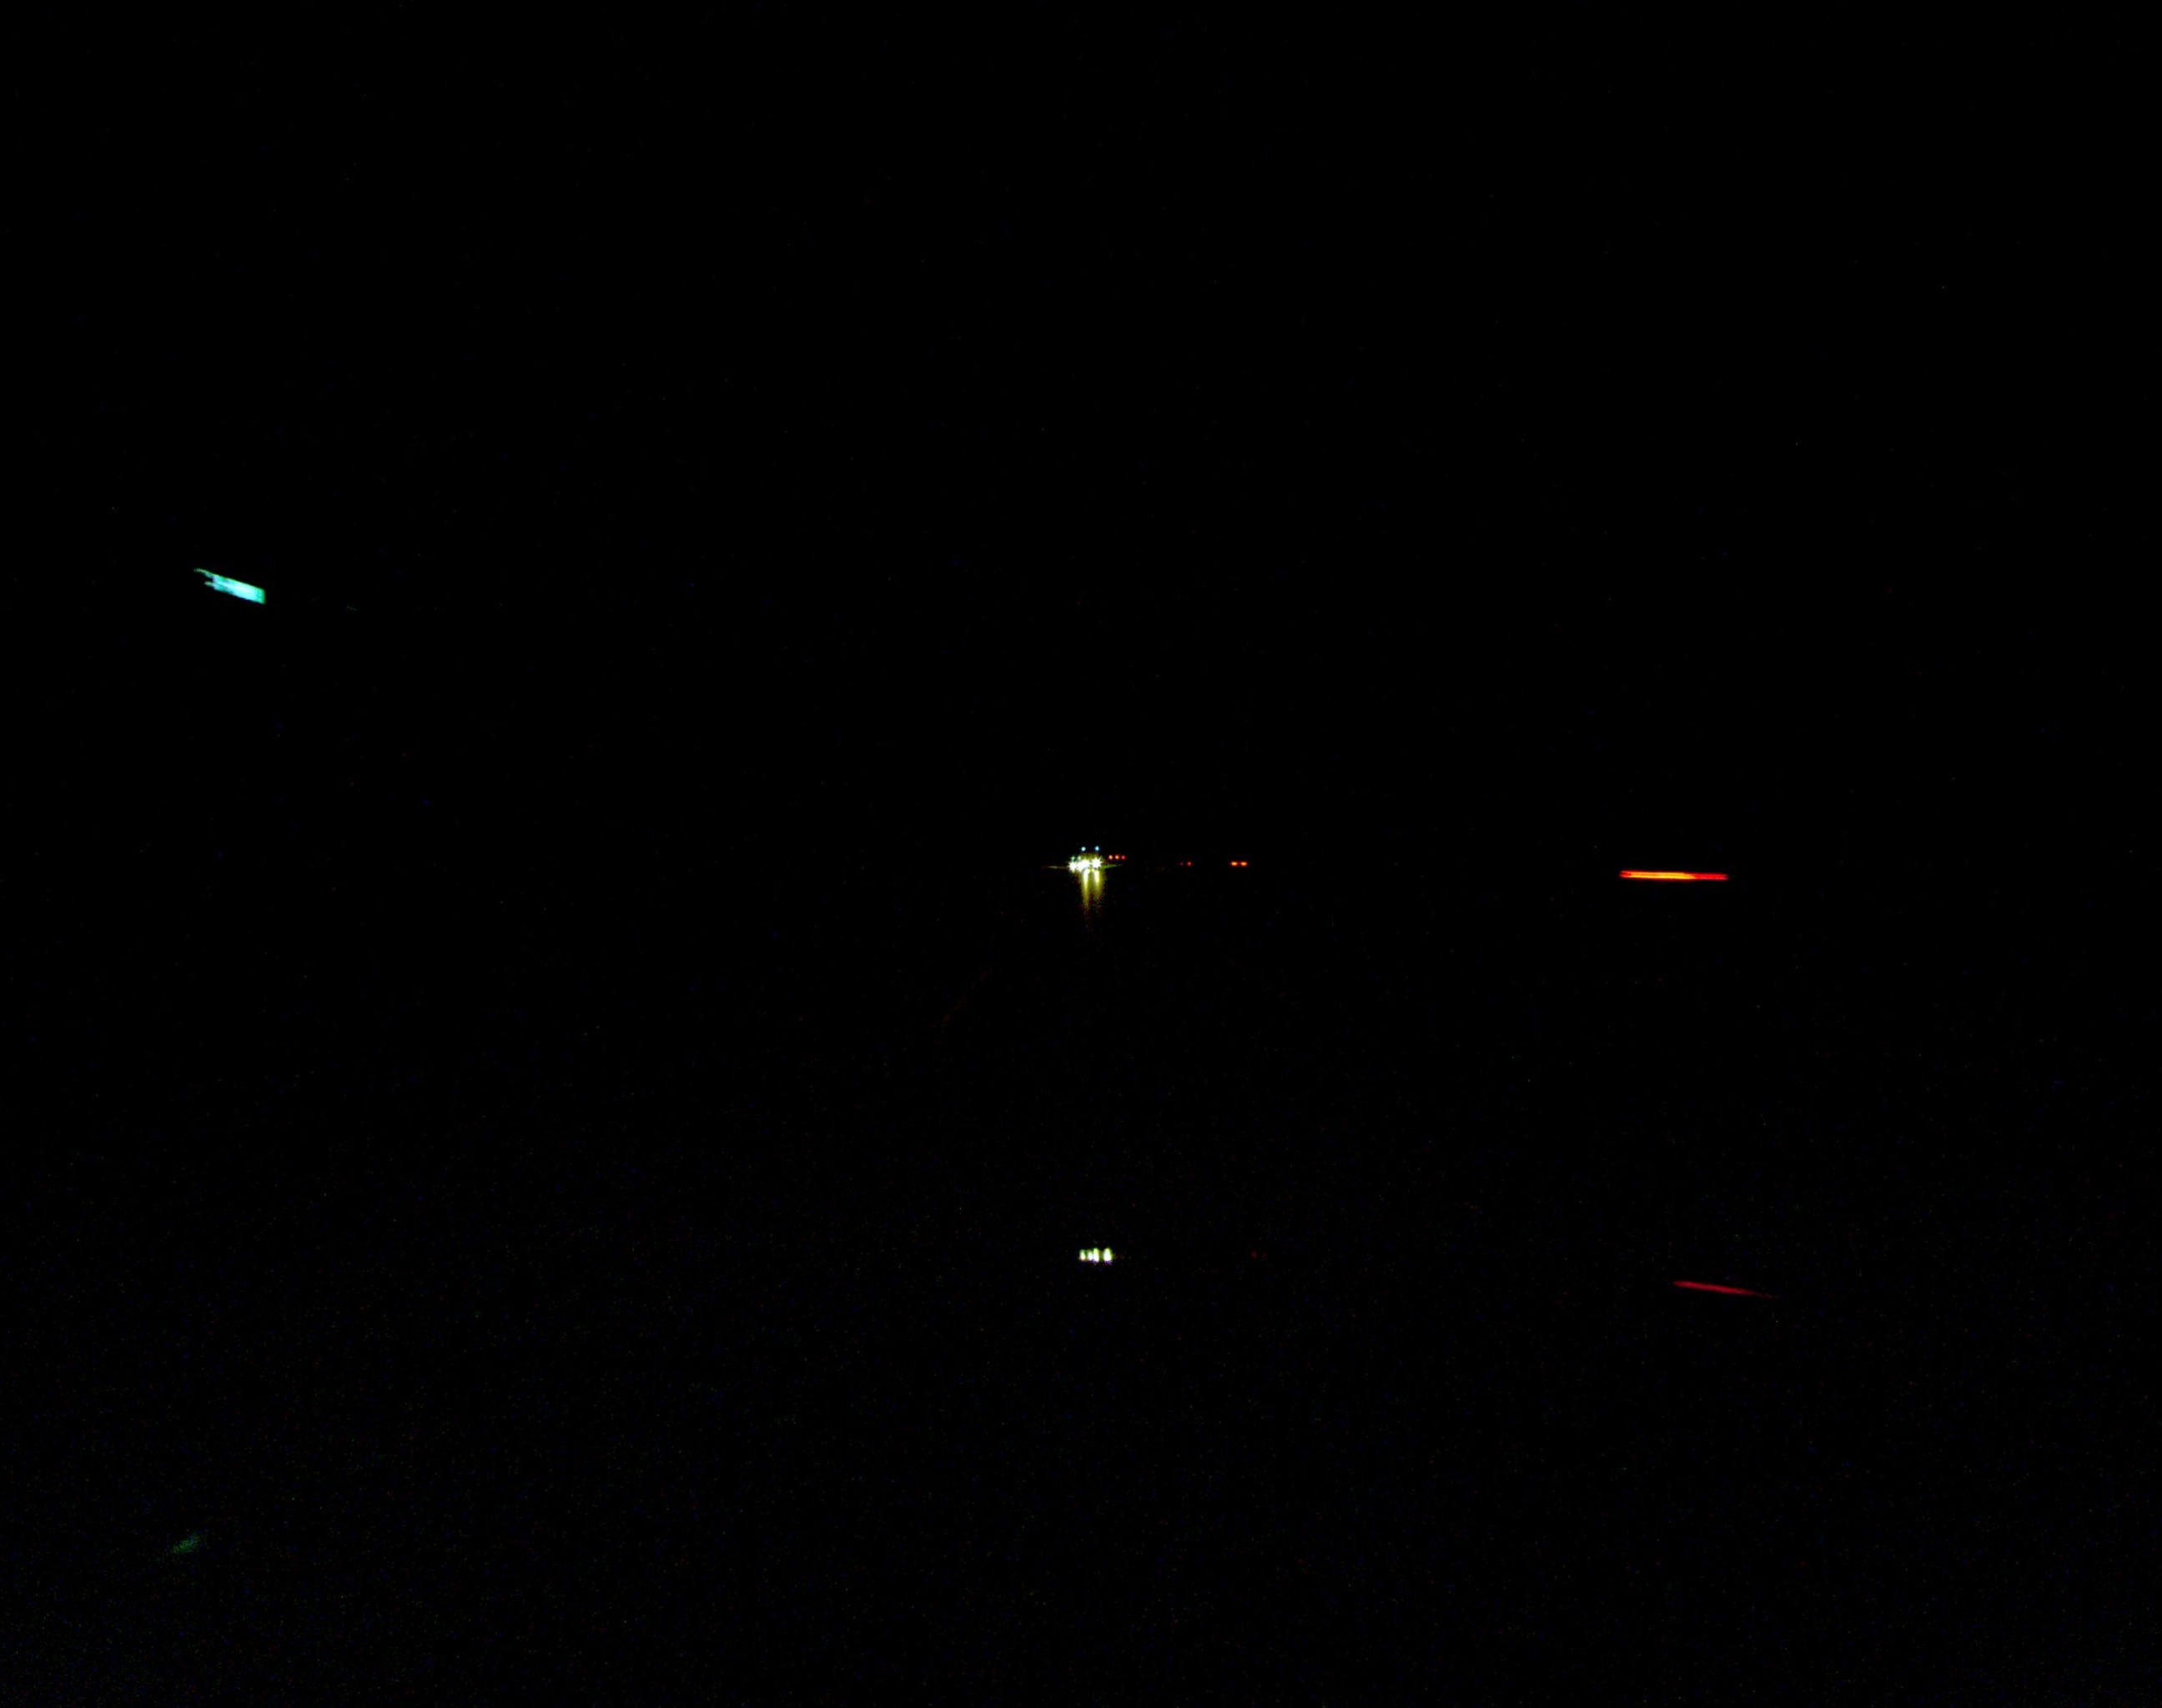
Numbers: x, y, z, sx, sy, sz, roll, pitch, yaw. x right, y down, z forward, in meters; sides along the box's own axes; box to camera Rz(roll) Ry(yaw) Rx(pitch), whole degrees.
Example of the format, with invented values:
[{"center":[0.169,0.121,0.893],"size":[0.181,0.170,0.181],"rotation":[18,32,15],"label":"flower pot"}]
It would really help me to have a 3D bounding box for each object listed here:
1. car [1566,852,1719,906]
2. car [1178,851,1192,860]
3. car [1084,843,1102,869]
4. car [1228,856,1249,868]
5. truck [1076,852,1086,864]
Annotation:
[{"center":[20.361,0.834,27.892],"size":[1.908,1.625,5.045],"rotation":[-3,1,1],"label":"car"},{"center":[18.368,0.315,134.423],"size":[1.908,1.462,4.656],"rotation":[-1,0,1],"label":"car"},{"center":[1.552,0.231,102.432],"size":[2.255,3.205,6.878],"rotation":[-2,0,1],"label":"car"},{"center":[21.514,1.045,103.798],"size":[1.908,1.611,4.656],"rotation":[-1,0,1],"label":"car"},{"center":[0.120,1.233,236.837],"size":[3.042,3.726,7.560],"rotation":[-1,0,1],"label":"truck"}]
